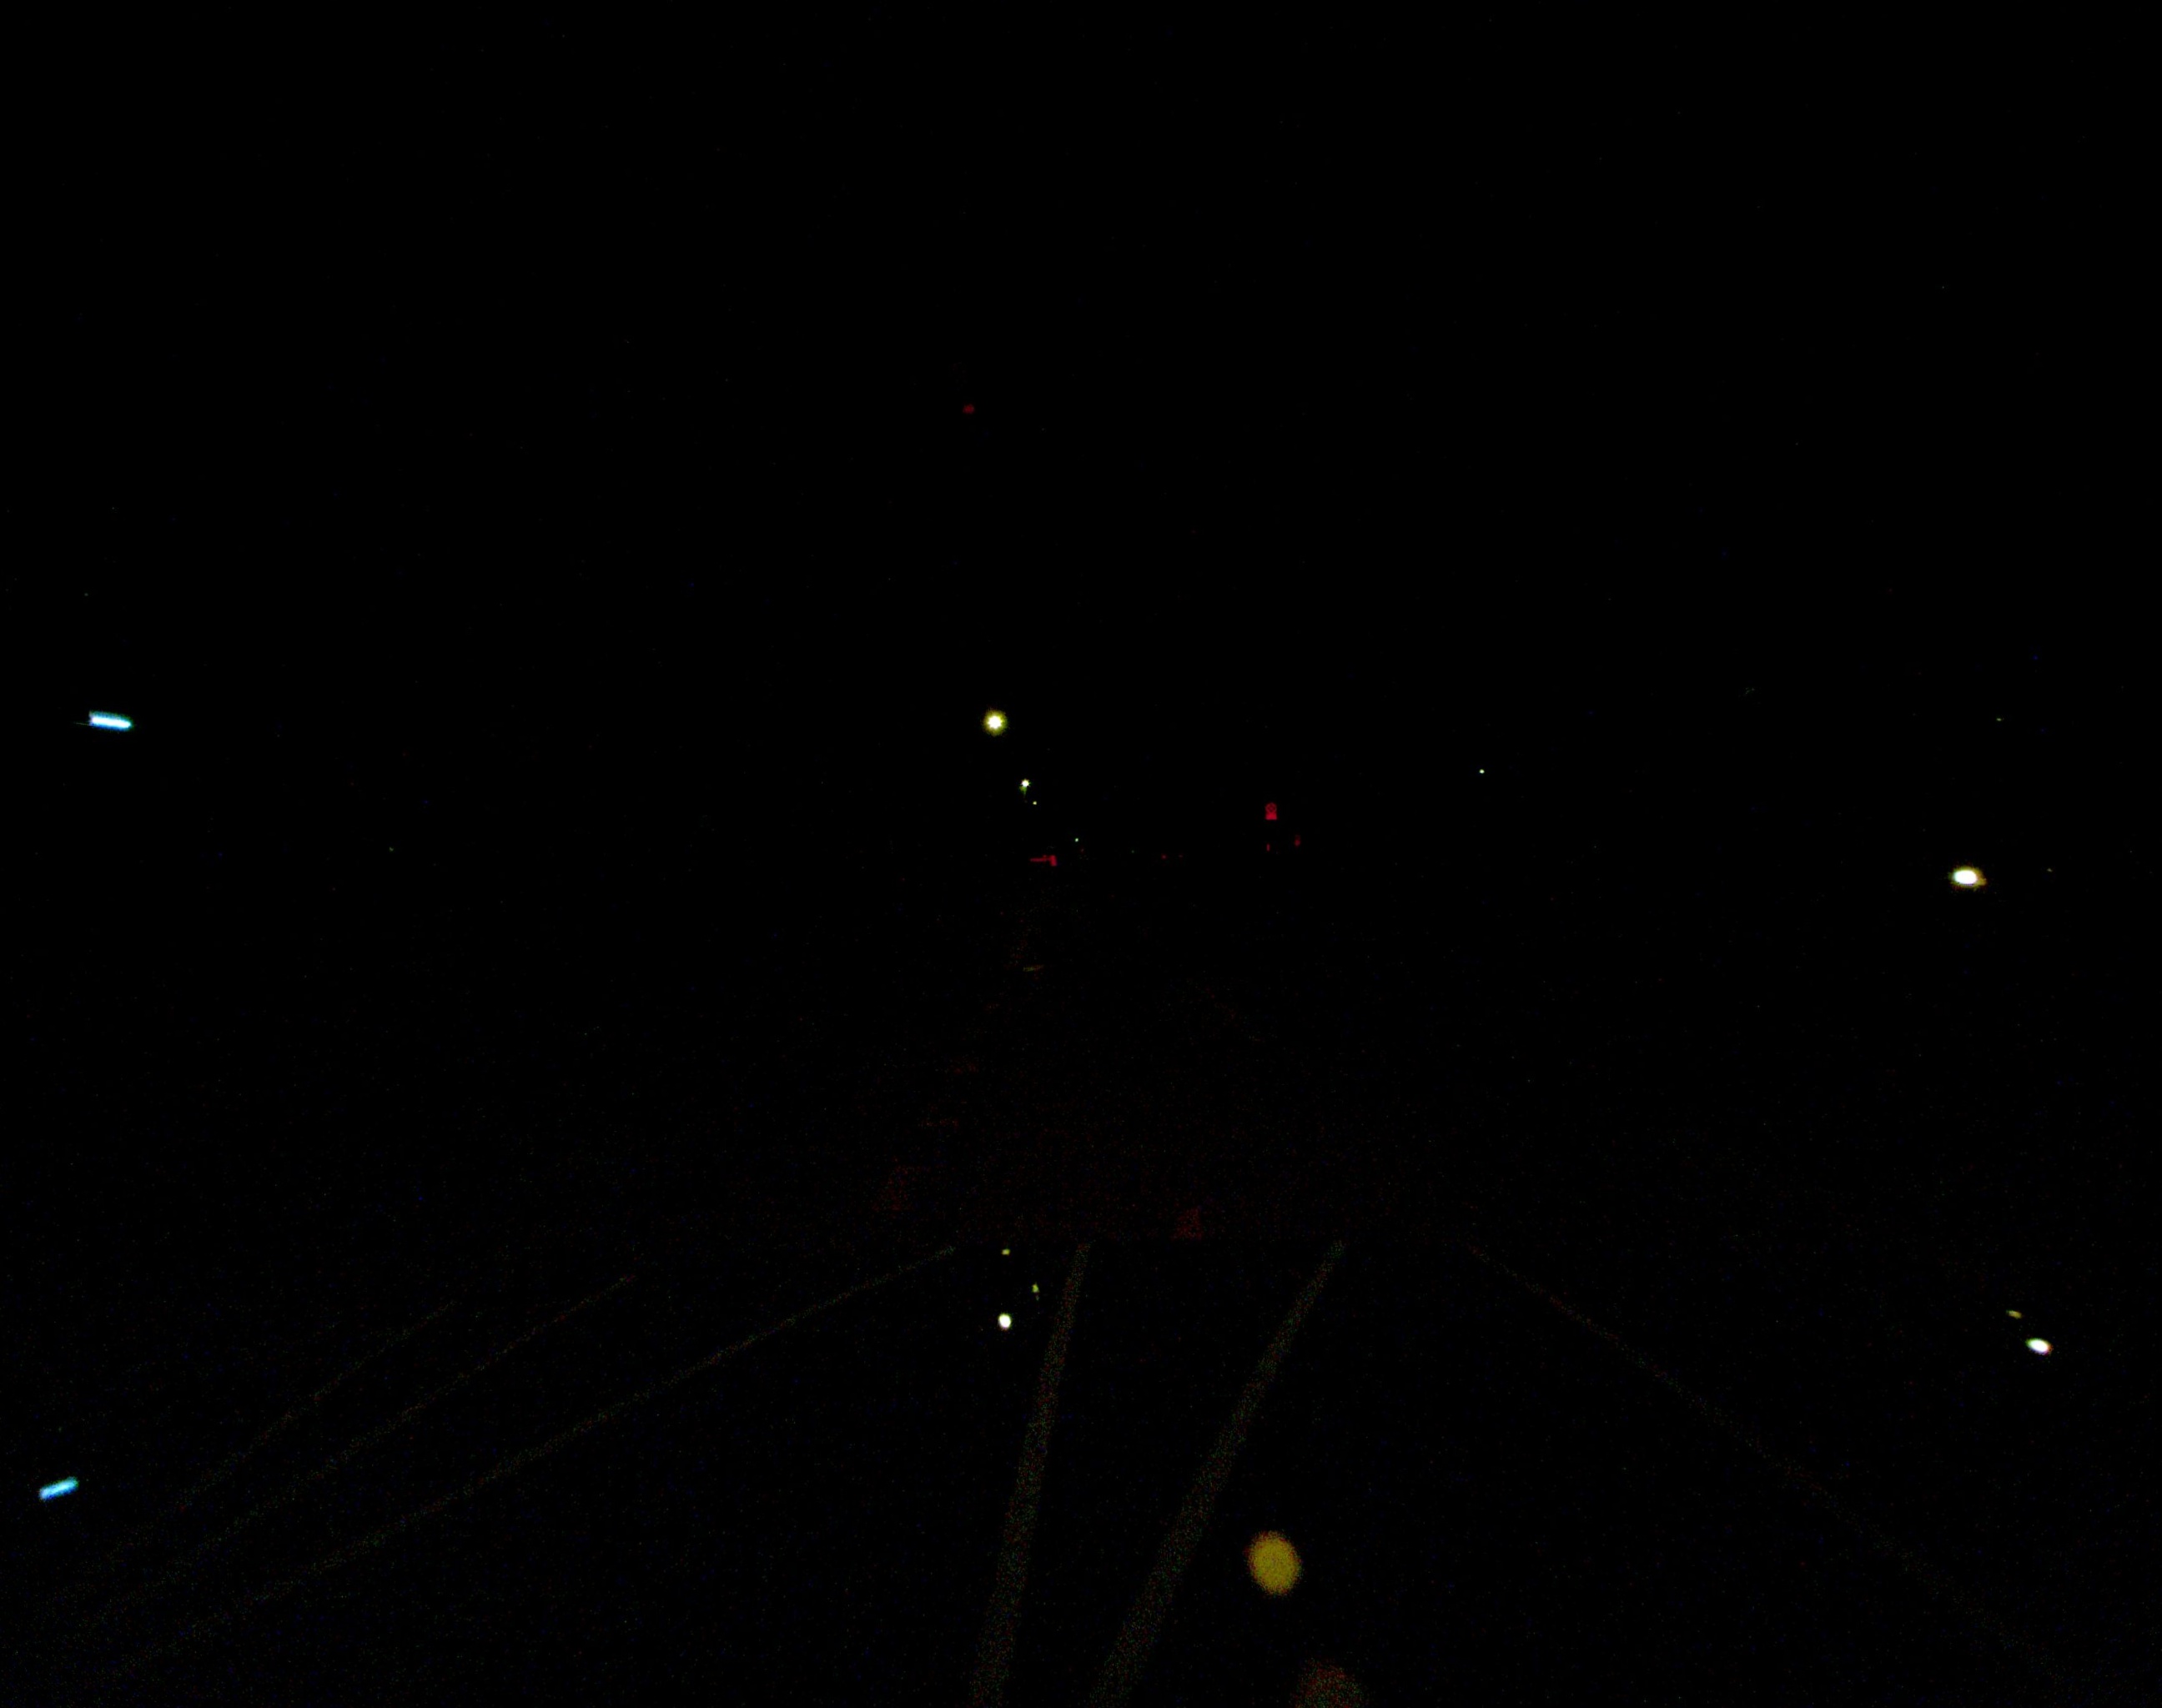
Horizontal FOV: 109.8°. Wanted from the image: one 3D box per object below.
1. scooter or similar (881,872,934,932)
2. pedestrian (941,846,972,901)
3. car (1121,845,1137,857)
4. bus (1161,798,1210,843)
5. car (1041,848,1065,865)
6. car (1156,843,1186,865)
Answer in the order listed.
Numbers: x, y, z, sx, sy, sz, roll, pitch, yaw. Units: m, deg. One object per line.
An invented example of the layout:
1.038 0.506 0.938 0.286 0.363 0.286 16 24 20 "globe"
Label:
-3.660 1.003 16.065 0.468 1.195 1.137 -2 0 24 "scooter or similar"
-4.316 0.652 26.491 0.819 1.854 1.034 -2 1 1 "pedestrian"
6.315 -0.354 100.339 1.863 1.484 4.080 -2 1 1 "car"
17.510 -5.508 129.035 6.135 6.898 14.781 -2 1 1 "bus"
-2.886 0.227 78.183 1.998 1.638 4.000 0 2 4 "car"
7.158 -0.026 60.846 1.806 1.583 3.999 -2 1 -1 "car"
